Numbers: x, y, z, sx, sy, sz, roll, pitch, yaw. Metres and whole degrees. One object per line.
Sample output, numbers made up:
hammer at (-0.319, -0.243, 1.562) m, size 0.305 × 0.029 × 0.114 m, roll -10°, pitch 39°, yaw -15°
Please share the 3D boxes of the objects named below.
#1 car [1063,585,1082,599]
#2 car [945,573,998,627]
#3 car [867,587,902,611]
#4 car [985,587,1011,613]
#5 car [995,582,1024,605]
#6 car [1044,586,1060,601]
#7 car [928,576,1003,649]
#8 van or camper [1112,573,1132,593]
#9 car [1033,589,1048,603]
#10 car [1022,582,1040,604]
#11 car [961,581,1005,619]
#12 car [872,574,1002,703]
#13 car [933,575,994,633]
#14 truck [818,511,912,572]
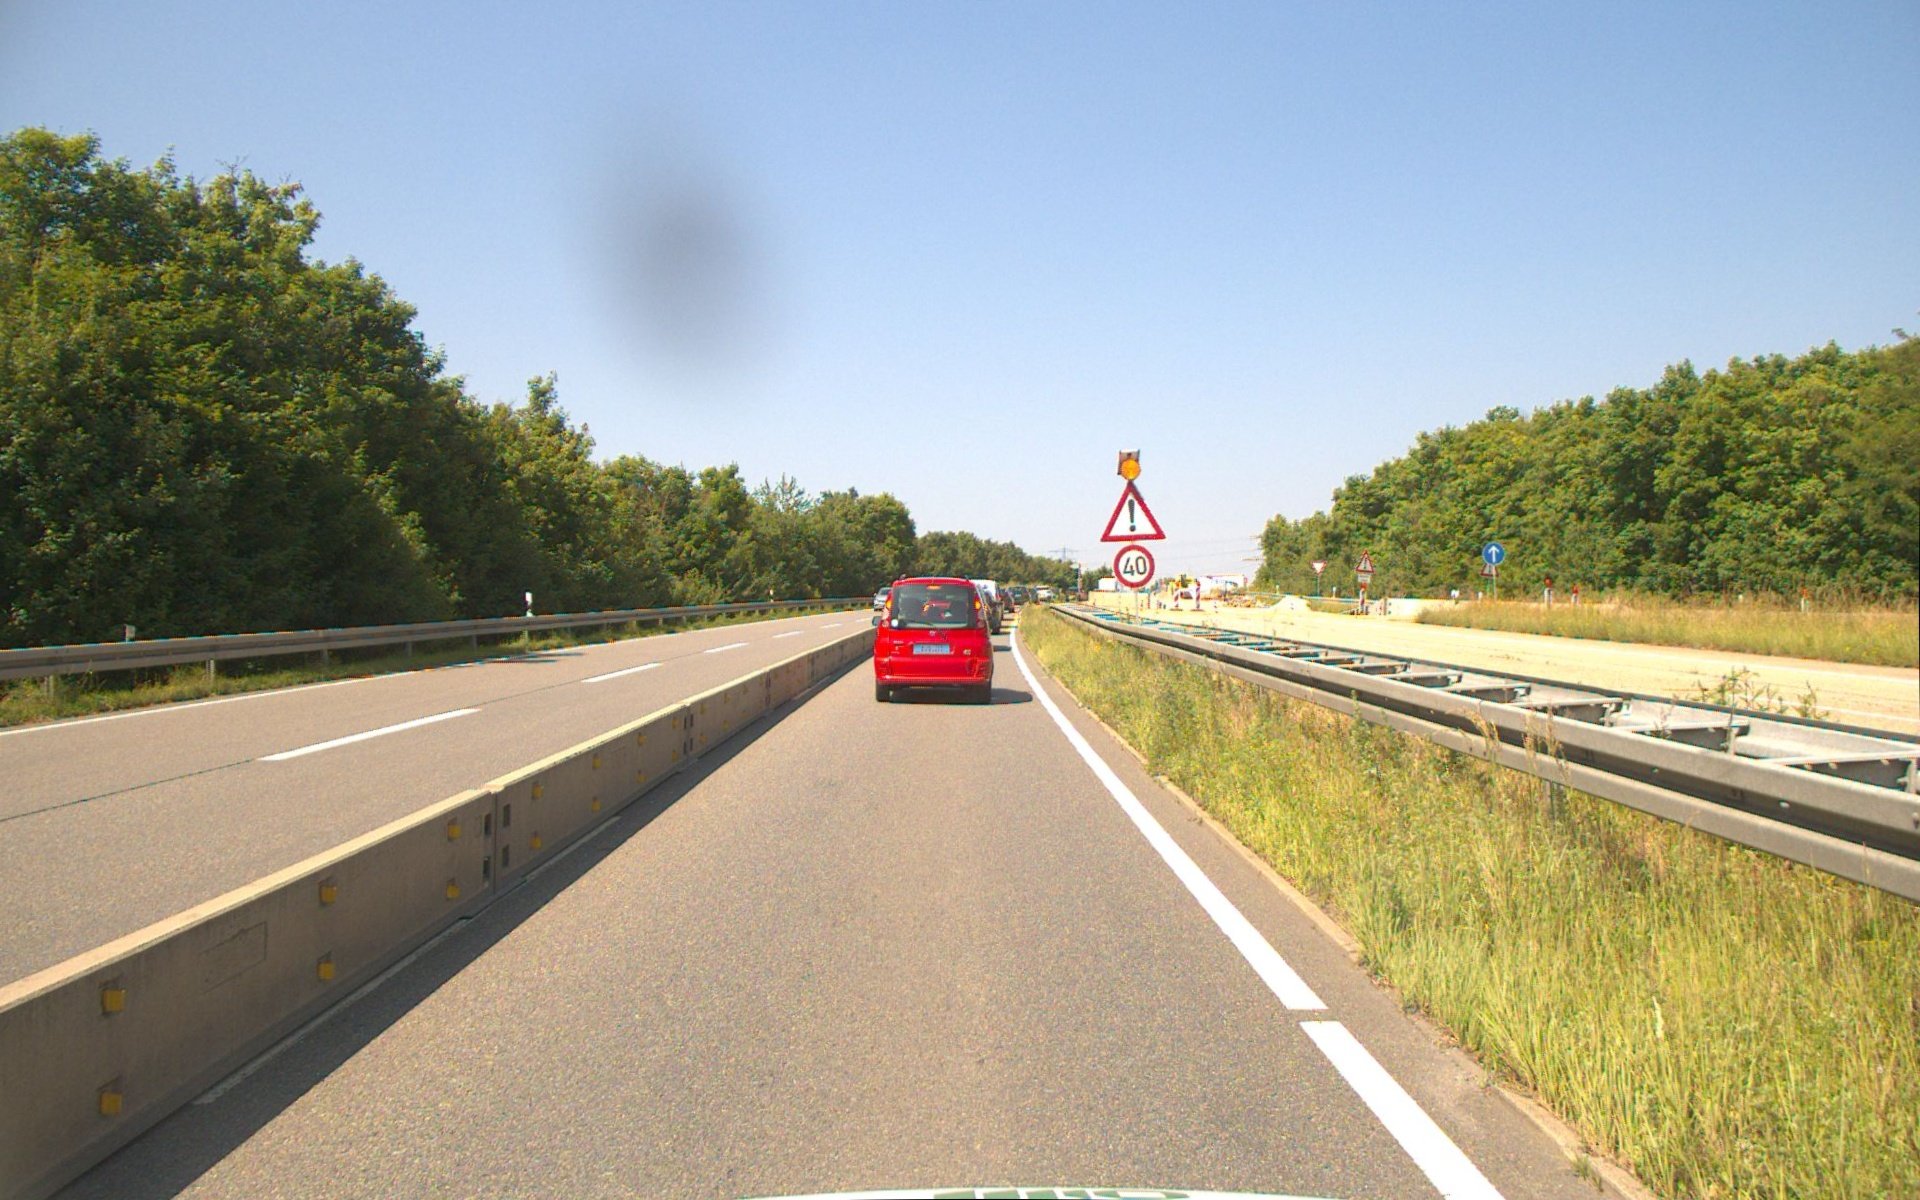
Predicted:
car at (13.094, -0.974, 192.625) m, size 1.952 × 1.579 × 4.001 m, roll 0°, pitch 0°, yaw 1°
car at (0.430, -0.023, 65.326) m, size 1.953 × 2.038 × 3.999 m, roll 1°, pitch 0°, yaw -1°
car at (-4.660, -0.056, 103.139) m, size 1.908 × 1.446 × 4.353 m, roll 0°, pitch 0°, yaw 1°
car at (2.236, -0.003, 96.838) m, size 1.470 × 1.476 × 3.326 m, roll 0°, pitch 0°, yaw 2°
car at (3.629, -0.492, 120.745) m, size 1.951 × 1.612 × 4.002 m, roll 0°, pitch 0°, yaw 4°
car at (9.388, -0.656, 168.598) m, size 1.470 × 1.476 × 3.171 m, roll -1°, pitch 0°, yaw 4°
car at (0.131, 0.286, 42.068) m, size 1.793 × 1.752 × 4.000 m, roll 0°, pitch 0°, yaw 0°
van or camper at (22.927, -2.380, 234.500) m, size 2.280 × 2.754 × 4.592 m, roll 0°, pitch 0°, yaw -1°
car at (7.442, -0.391, 152.702) m, size 1.391 × 1.321 × 2.880 m, roll 0°, pitch 0°, yaw 4°
car at (5.865, -0.568, 136.956) m, size 1.470 × 1.767 × 3.171 m, roll 0°, pitch 0°, yaw 2°
car at (1.074, -0.027, 80.040) m, size 1.953 × 1.780 × 3.999 m, roll 0°, pitch 0°, yaw -2°
car at (-0.371, 0.503, 23.868) m, size 1.716 × 1.702 × 3.998 m, roll 0°, pitch 0°, yaw -2°
car at (0.160, 0.134, 55.539) m, size 1.952 × 1.870 × 4.001 m, roll 0°, pitch 0°, yaw 1°
truck at (-8.855, -5.477, 154.968) m, size 8.440 × 5.469 × 3.390 m, roll -1°, pitch 0°, yaw 3°
